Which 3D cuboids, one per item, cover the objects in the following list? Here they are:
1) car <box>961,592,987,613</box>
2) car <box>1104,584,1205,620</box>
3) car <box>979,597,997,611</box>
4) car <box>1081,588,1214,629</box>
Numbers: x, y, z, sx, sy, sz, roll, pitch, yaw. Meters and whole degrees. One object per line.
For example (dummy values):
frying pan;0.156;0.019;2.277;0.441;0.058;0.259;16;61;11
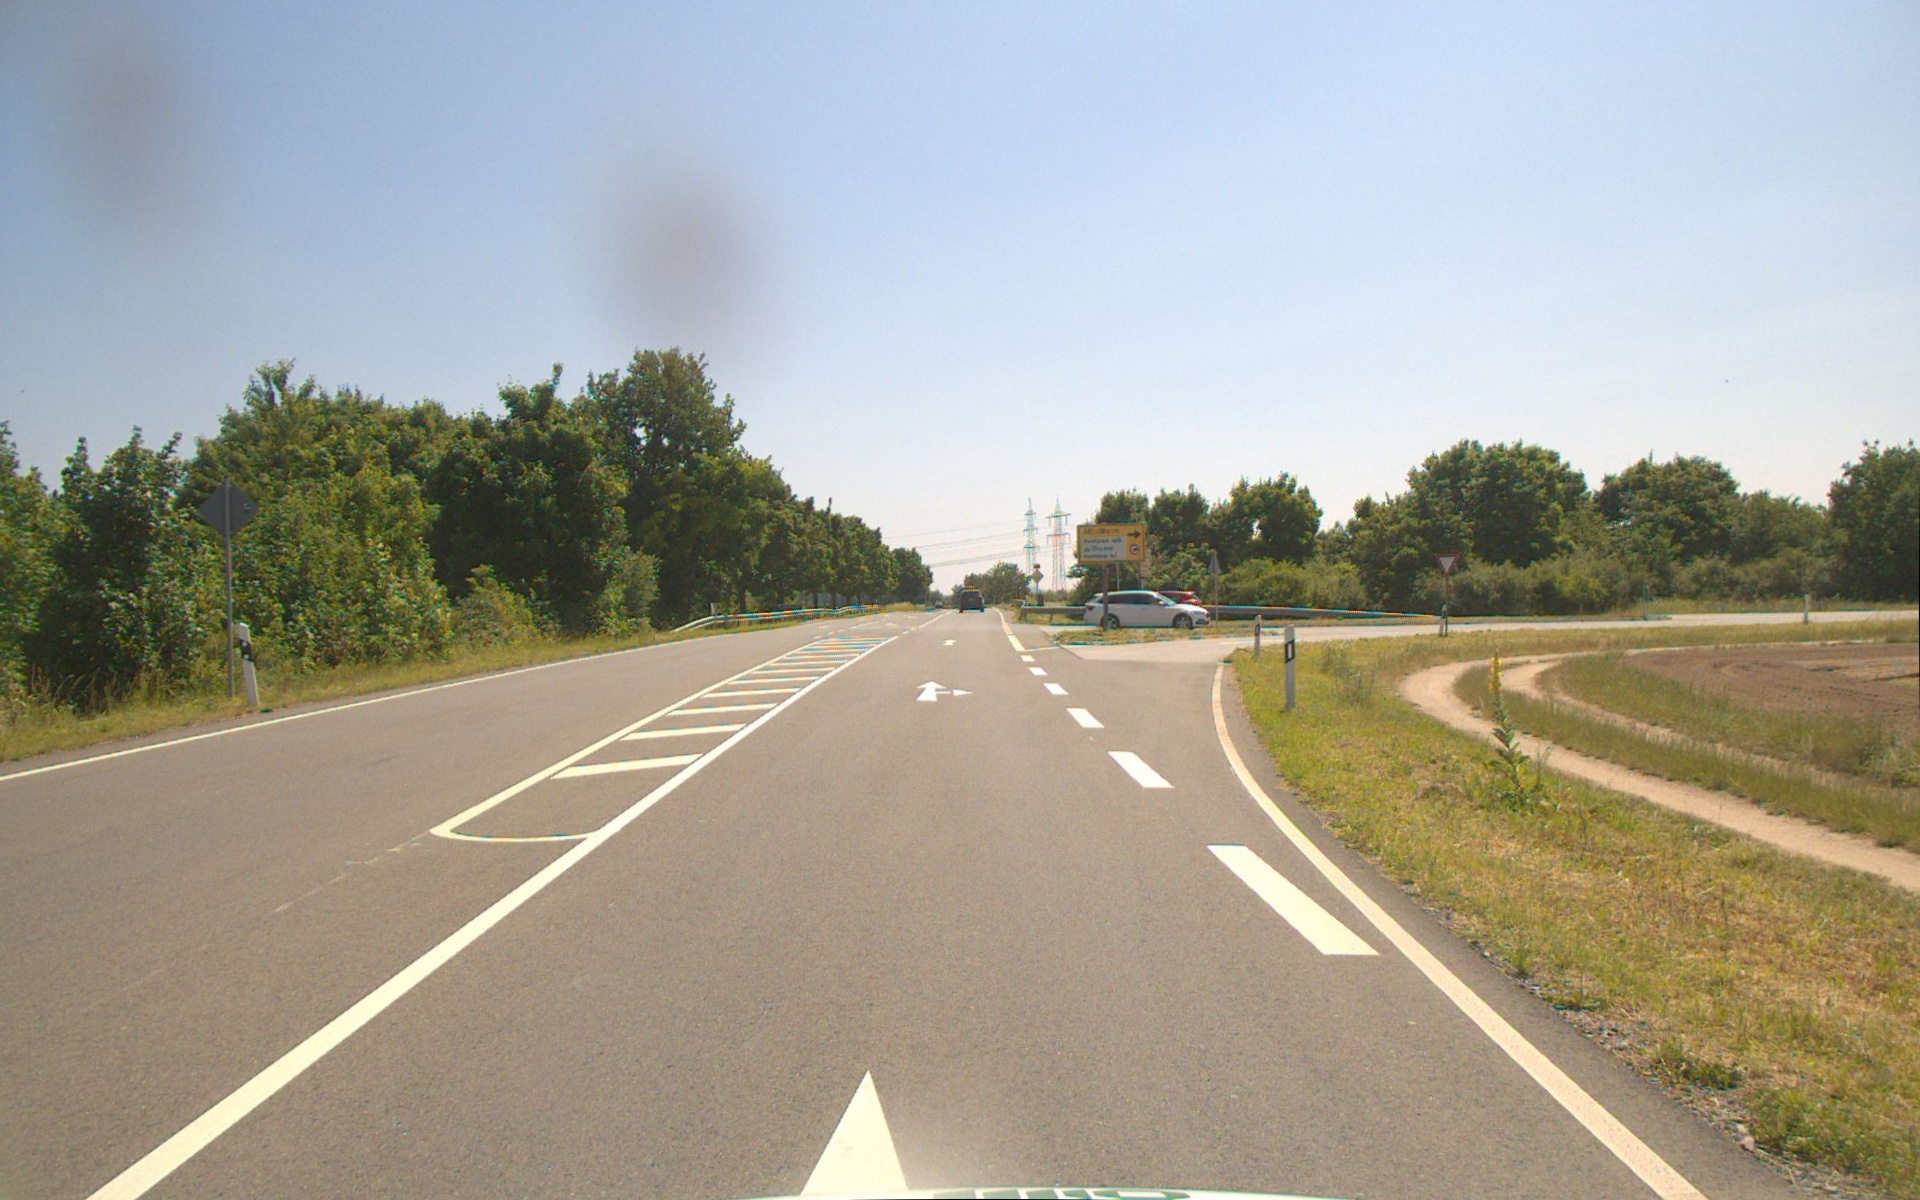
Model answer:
car;1.025;0.204;124.657;1.846;1.544;4.038;0;0;-1
car;8.307;0.088;70.624;4.064;1.443;1.781;-1;-1;14
car;2.707;0.421;162.228;1.610;1.364;4.038;0;0;-1
car;6.853;0.312;60.316;4.600;1.443;1.843;0;0;14
